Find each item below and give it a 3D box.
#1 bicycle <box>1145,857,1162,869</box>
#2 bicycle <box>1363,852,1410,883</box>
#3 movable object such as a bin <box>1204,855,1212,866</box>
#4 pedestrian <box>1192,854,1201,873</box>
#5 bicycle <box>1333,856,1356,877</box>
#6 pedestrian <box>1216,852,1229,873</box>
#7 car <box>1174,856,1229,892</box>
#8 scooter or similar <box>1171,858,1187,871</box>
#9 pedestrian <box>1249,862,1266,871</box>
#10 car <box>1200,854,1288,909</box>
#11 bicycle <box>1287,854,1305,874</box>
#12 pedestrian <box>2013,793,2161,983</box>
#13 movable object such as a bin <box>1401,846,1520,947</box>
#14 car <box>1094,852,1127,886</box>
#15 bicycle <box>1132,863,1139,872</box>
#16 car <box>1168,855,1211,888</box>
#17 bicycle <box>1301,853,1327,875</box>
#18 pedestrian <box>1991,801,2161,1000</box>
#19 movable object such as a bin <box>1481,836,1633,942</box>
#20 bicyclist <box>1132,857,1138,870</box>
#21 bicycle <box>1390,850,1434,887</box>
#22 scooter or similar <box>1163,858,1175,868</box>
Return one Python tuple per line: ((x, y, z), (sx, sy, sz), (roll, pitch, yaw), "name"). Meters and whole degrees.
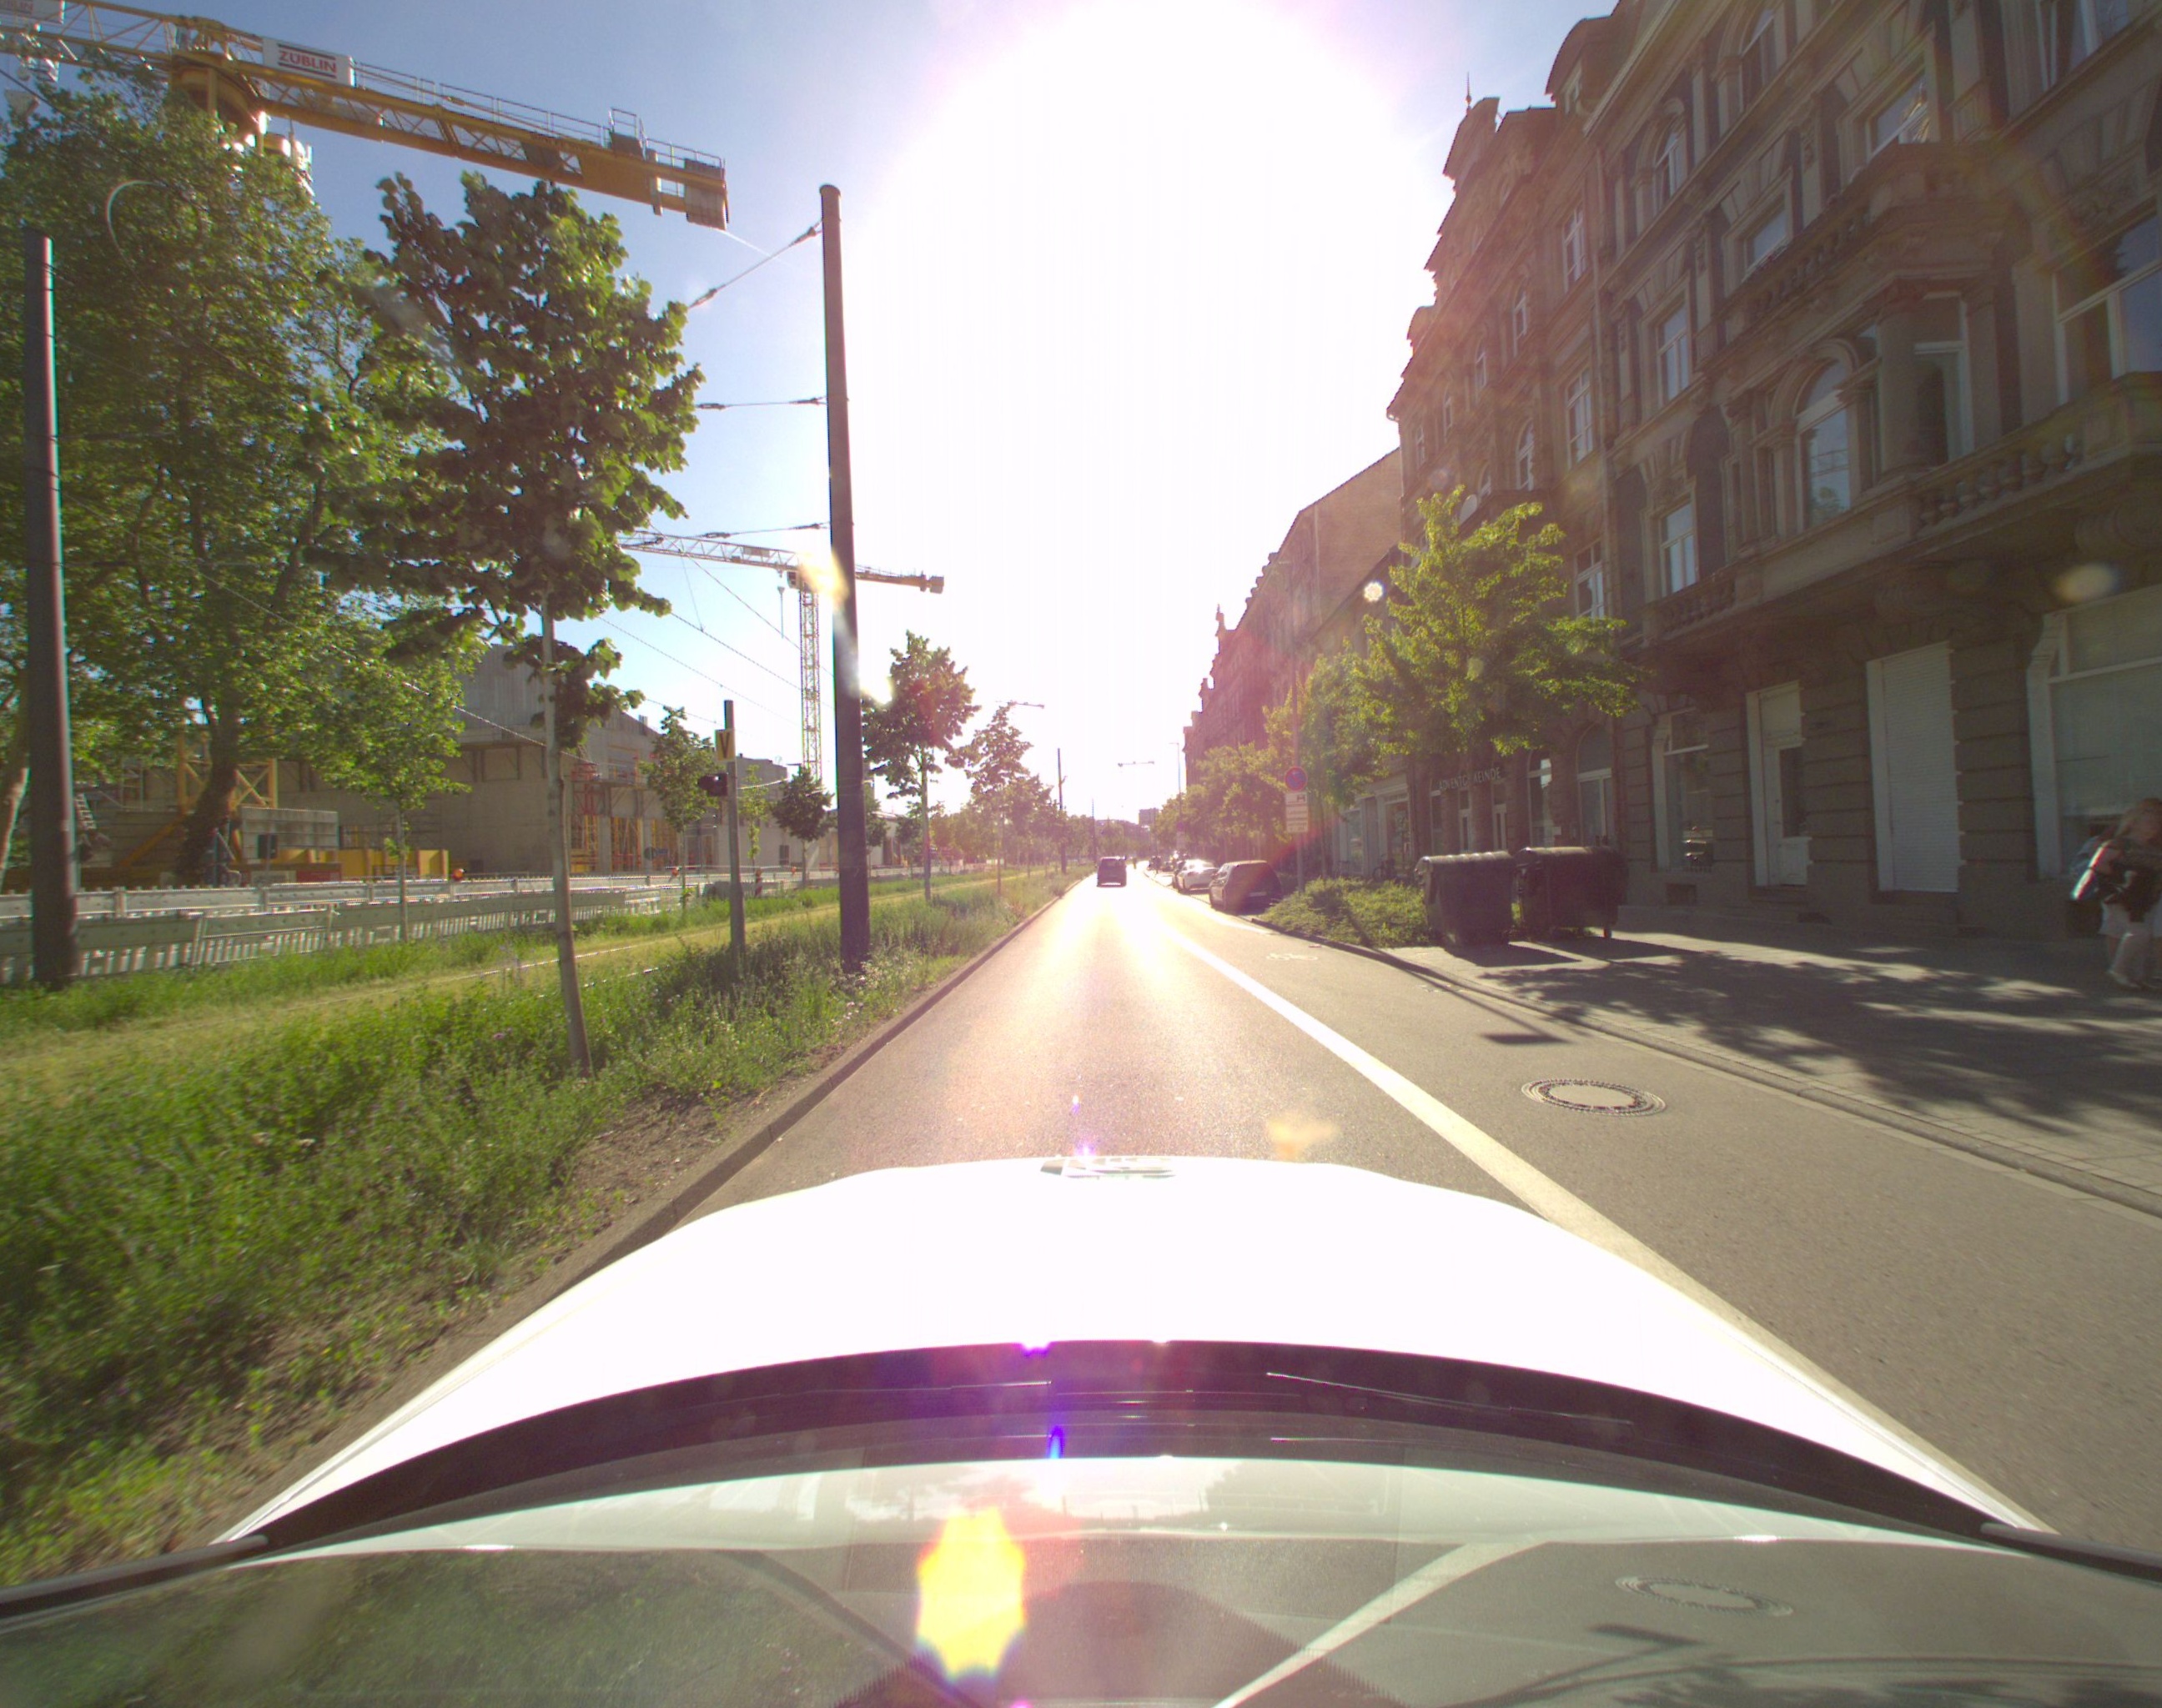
((8.554, 1.068, 95.931), (1.875, 1.233, 0.499), (-4, -1, -4), "bicycle")
((11.640, 0.507, 31.096), (0.873, 1.105, 2.180), (-5, 0, -1), "bicycle")
((13.629, 0.710, 87.576), (0.723, 1.098, 0.747), (-2, 0, -3), "movable object such as a bin")
((12.831, 1.068, 90.483), (0.814, 2.014, 1.046), (-1, -3, 2), "pedestrian")
((12.162, 0.567, 37.690), (0.445, 0.945, 2.013), (-1, 0, 2), "bicycle")
((11.770, 0.732, 67.767), (0.992, 1.731, 0.866), (-1, -1, 1), "pedestrian")
((5.611, 0.912, 38.591), (1.944, 1.495, 5.107), (-4, -1, 2), "car")
((9.913, 1.033, 82.296), (1.470, 1.216, 0.601), (-4, 1, -2), "scooter or similar")
((12.790, 0.887, 59.046), (0.770, 0.553, 2.008), (-2, 0, 2), "pedestrian")
((5.066, 0.840, 25.887), (1.760, 1.477, 4.446), (-4, -1, -1), "car")
((12.280, 0.566, 46.572), (0.479, 1.090, 2.058), (-3, 0, 2), "bicycle")
((9.746, 0.273, 7.570), (0.967, 1.639, 0.993), (-3, 0, 1), "pedestrian")
((5.989, 0.627, 12.986), (1.264, 1.463, 1.647), (-1, 2, 6), "movable object such as a bin")
((1.862, 0.950, 51.591), (1.986, 2.014, 4.001), (-1, -1, 1), "car")
((6.778, 1.653, 101.236), (0.698, 1.091, 2.278), (-1, 0, 2), "bicycle")
((5.977, 0.966, 45.322), (1.877, 1.569, 4.221), (-4, -1, 1), "car")
((12.076, 0.501, 42.229), (0.718, 1.090, 2.199), (-3, 0, 2), "bicycle")
((8.968, 0.350, 7.039), (0.947, 1.566, 1.080), (-3, 0, 1), "pedestrian")
((7.584, 0.545, 13.129), (1.368, 1.495, 1.750), (-4, -1, 3), "movable object such as a bin")
((6.764, 1.173, 101.296), (0.680, 1.584, 0.840), (-2, 0, 1), "bicyclist")
((11.364, 0.495, 28.035), (0.745, 1.201, 1.801), (-3, -1, 2), "bicycle")
((10.040, 1.001, 93.041), (1.214, 1.106, 0.784), (-3, 0, 4), "scooter or similar")
